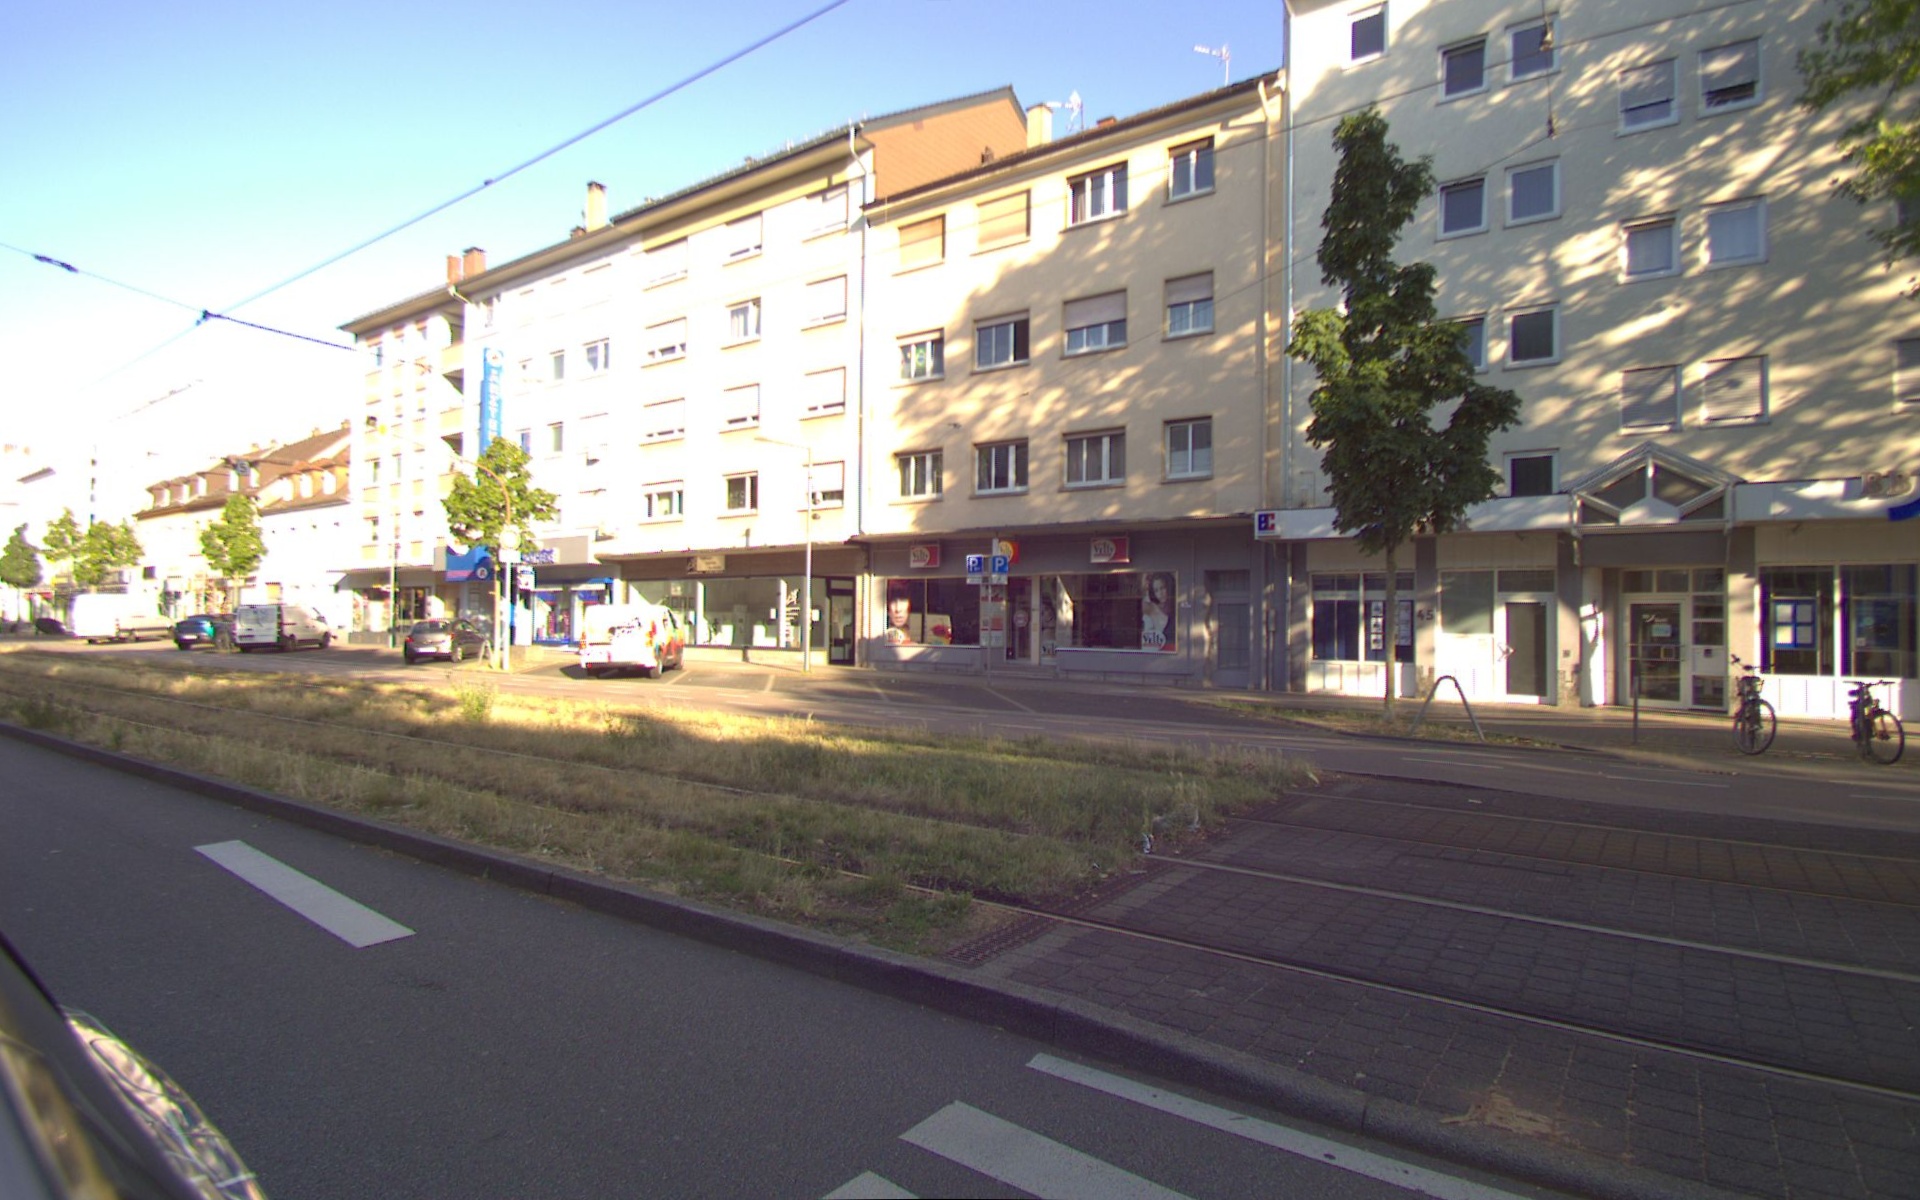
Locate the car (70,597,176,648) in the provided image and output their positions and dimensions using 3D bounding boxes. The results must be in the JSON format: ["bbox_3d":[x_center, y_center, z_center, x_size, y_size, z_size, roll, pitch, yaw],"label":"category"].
[{"bbox_3d":[-45.378,1.172,55.088,1.895,2.634,6.608,0,0,-16],"label":"car"}]

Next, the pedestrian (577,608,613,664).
[{"bbox_3d":[-12.281,1.188,34.043,0.916,1.841,0.748,-1,-1,38],"label":"pedestrian"}]

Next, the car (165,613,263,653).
[{"bbox_3d":[-34.287,1.468,46.653,1.830,1.727,3.919,0,0,-4],"label":"car"}]

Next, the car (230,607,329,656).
[{"bbox_3d":[-28.641,1.266,42.749,1.828,1.952,4.514,0,0,-10],"label":"car"}]

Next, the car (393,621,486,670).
[{"bbox_3d":[-17.556,1.497,34.329,1.708,1.508,4.009,0,0,-10],"label":"car"}]

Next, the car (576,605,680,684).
[{"bbox_3d":[-8.786,1.118,27.124,1.830,1.913,4.005,0,0,-6],"label":"car"}]

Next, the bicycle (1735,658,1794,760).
[{"bbox_3d":[10.295,1.359,12.982,0.511,1.147,1.724,-1,-1,36],"label":"bicycle"}]

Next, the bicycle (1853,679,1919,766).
[{"bbox_3d":[11.329,1.461,12.361,0.471,0.895,1.724,-1,-1,36],"label":"bicycle"}]
